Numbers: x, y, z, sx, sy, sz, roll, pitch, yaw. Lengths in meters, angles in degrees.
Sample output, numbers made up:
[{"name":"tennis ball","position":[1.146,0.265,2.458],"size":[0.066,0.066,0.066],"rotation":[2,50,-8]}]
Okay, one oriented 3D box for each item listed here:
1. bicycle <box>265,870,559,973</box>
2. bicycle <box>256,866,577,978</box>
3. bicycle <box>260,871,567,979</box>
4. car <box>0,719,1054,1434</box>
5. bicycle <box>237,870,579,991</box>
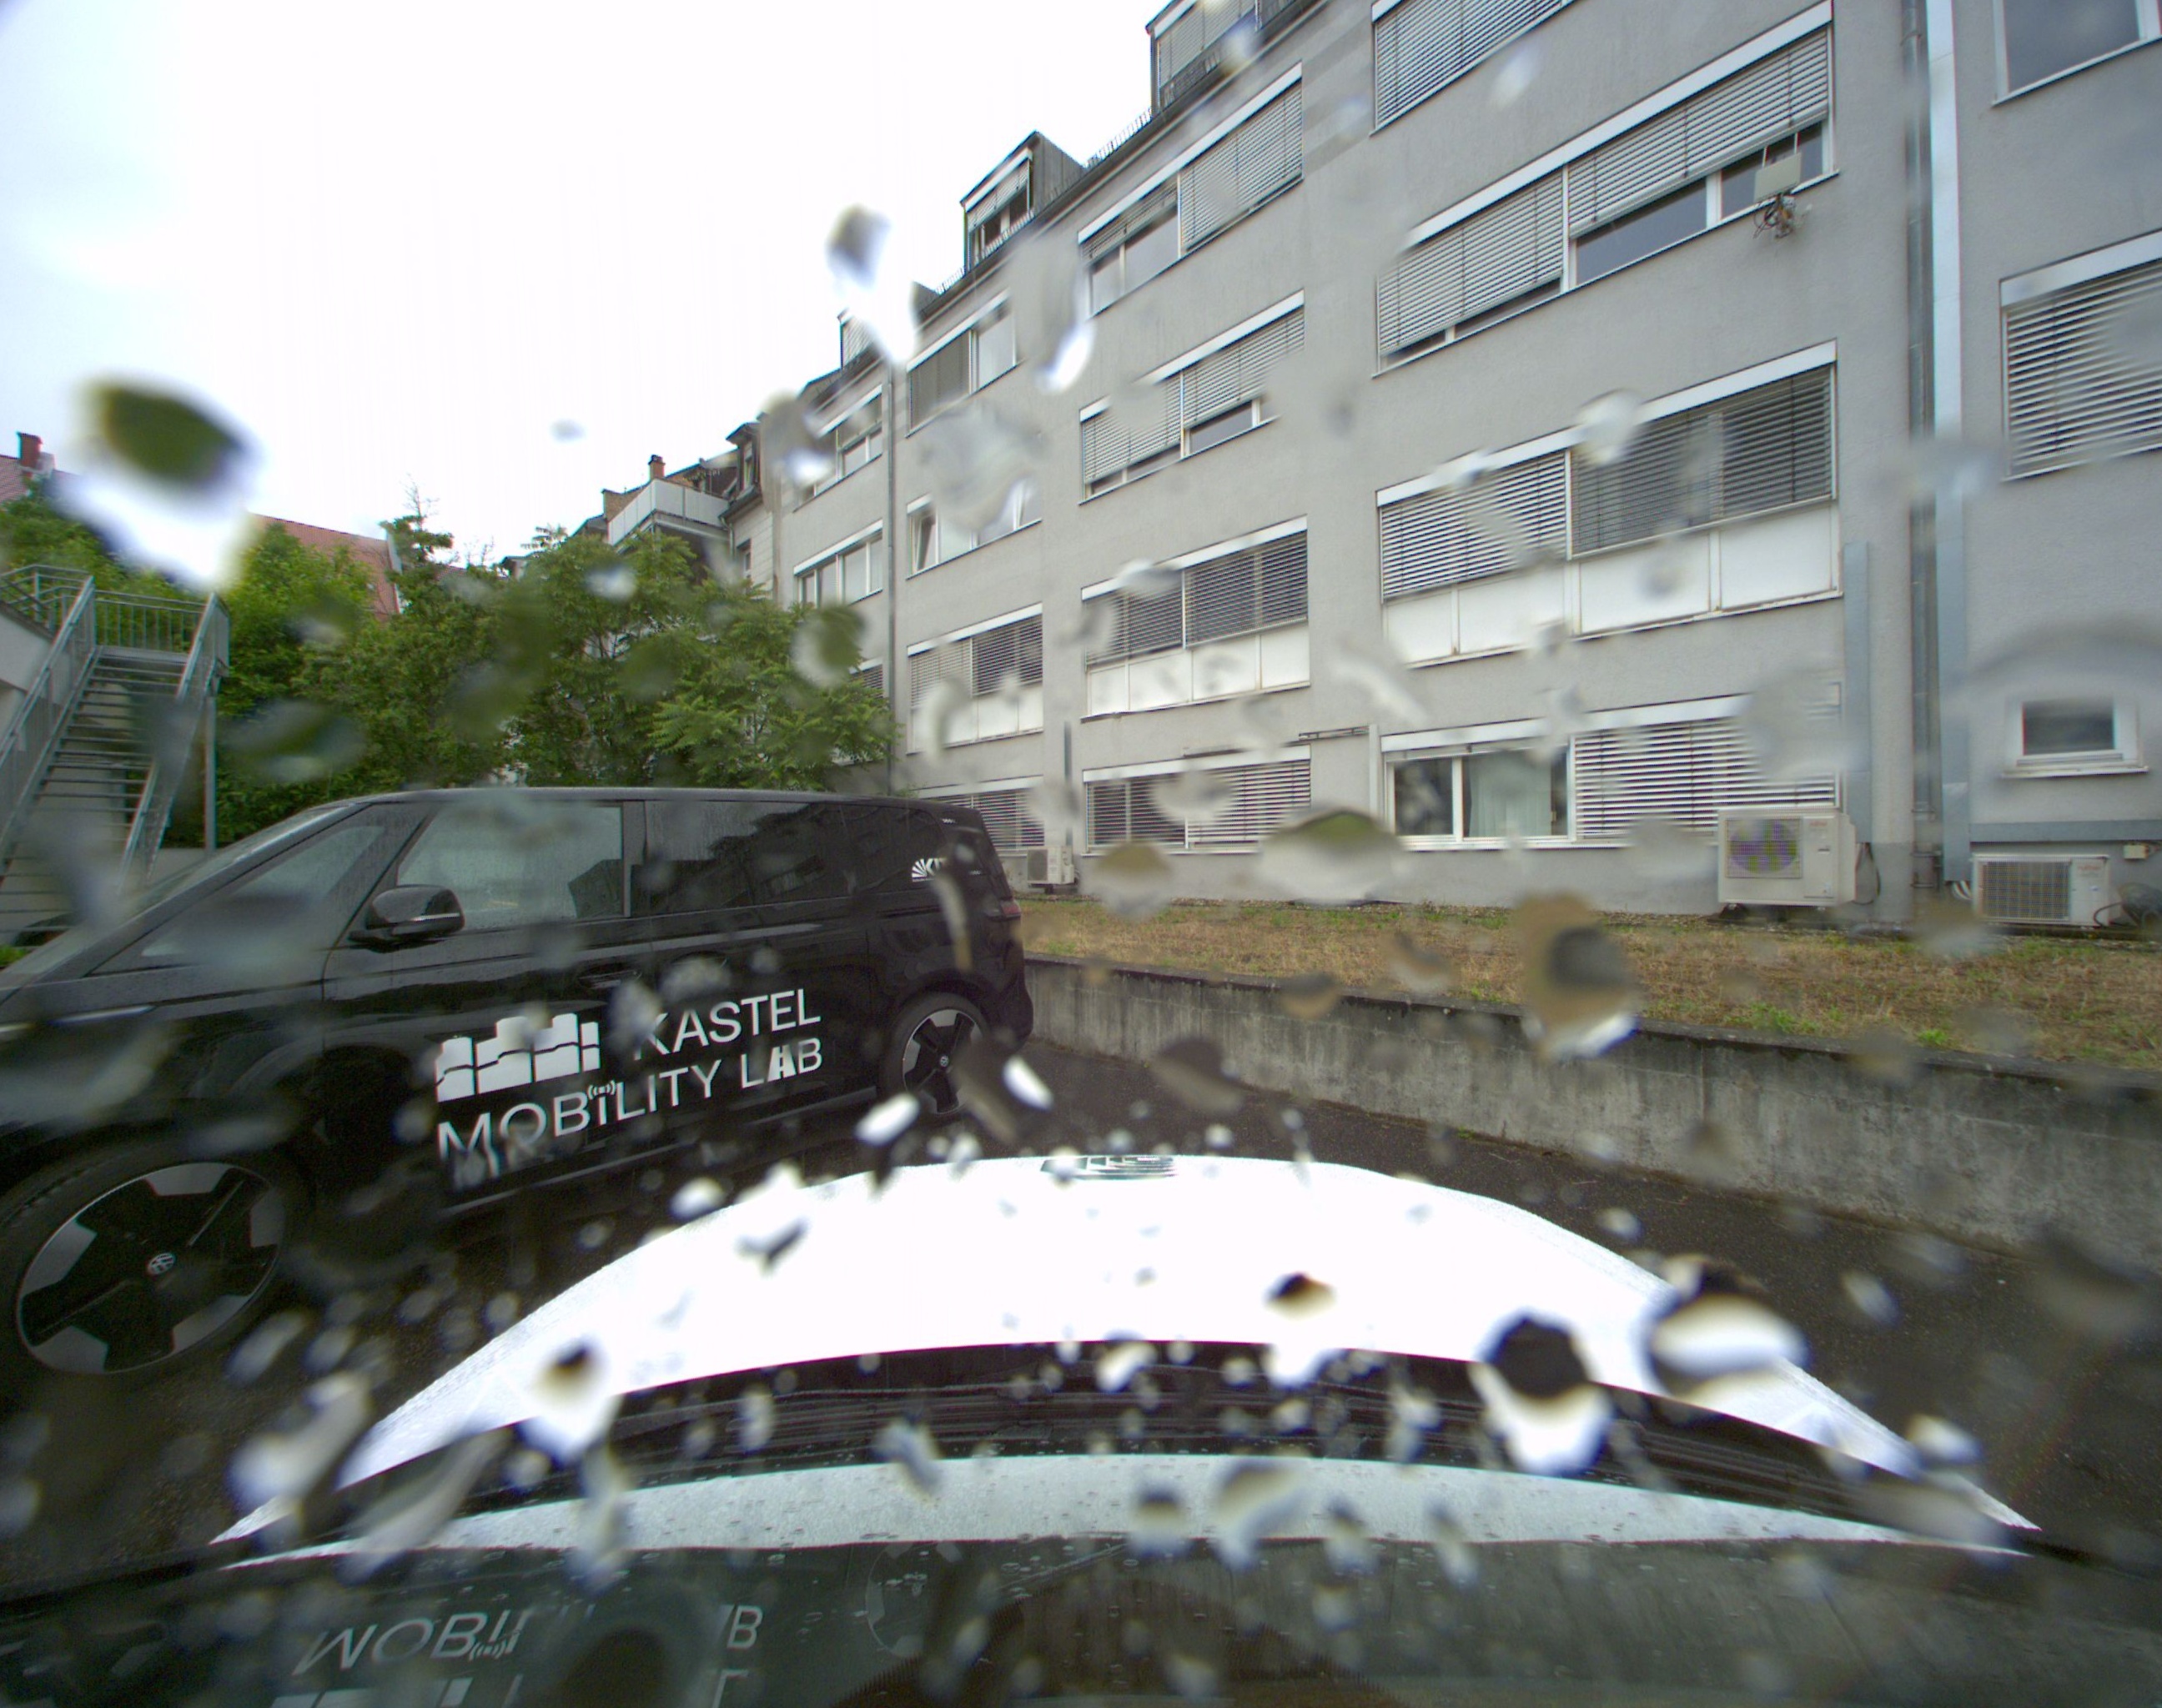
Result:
[{"name":"bicycle","position":[-9.550,0.903,11.842],"size":[3.242,1.242,0.623],"rotation":[-1,-1,-43]},{"name":"bicycle","position":[-8.682,0.815,10.878],"size":[3.242,1.242,0.623],"rotation":[-1,-1,-43]},{"name":"bicycle","position":[-9.126,0.904,11.360],"size":[3.242,1.242,0.623],"rotation":[-1,-1,-43]},{"name":"car","position":[-2.467,0.592,4.126],"size":[2.020,1.897,4.550],"rotation":[-2,-1,42]},{"name":"bicycle","position":[-8.276,0.869,10.267],"size":[3.242,1.242,0.623],"rotation":[-1,-1,-43]}]
